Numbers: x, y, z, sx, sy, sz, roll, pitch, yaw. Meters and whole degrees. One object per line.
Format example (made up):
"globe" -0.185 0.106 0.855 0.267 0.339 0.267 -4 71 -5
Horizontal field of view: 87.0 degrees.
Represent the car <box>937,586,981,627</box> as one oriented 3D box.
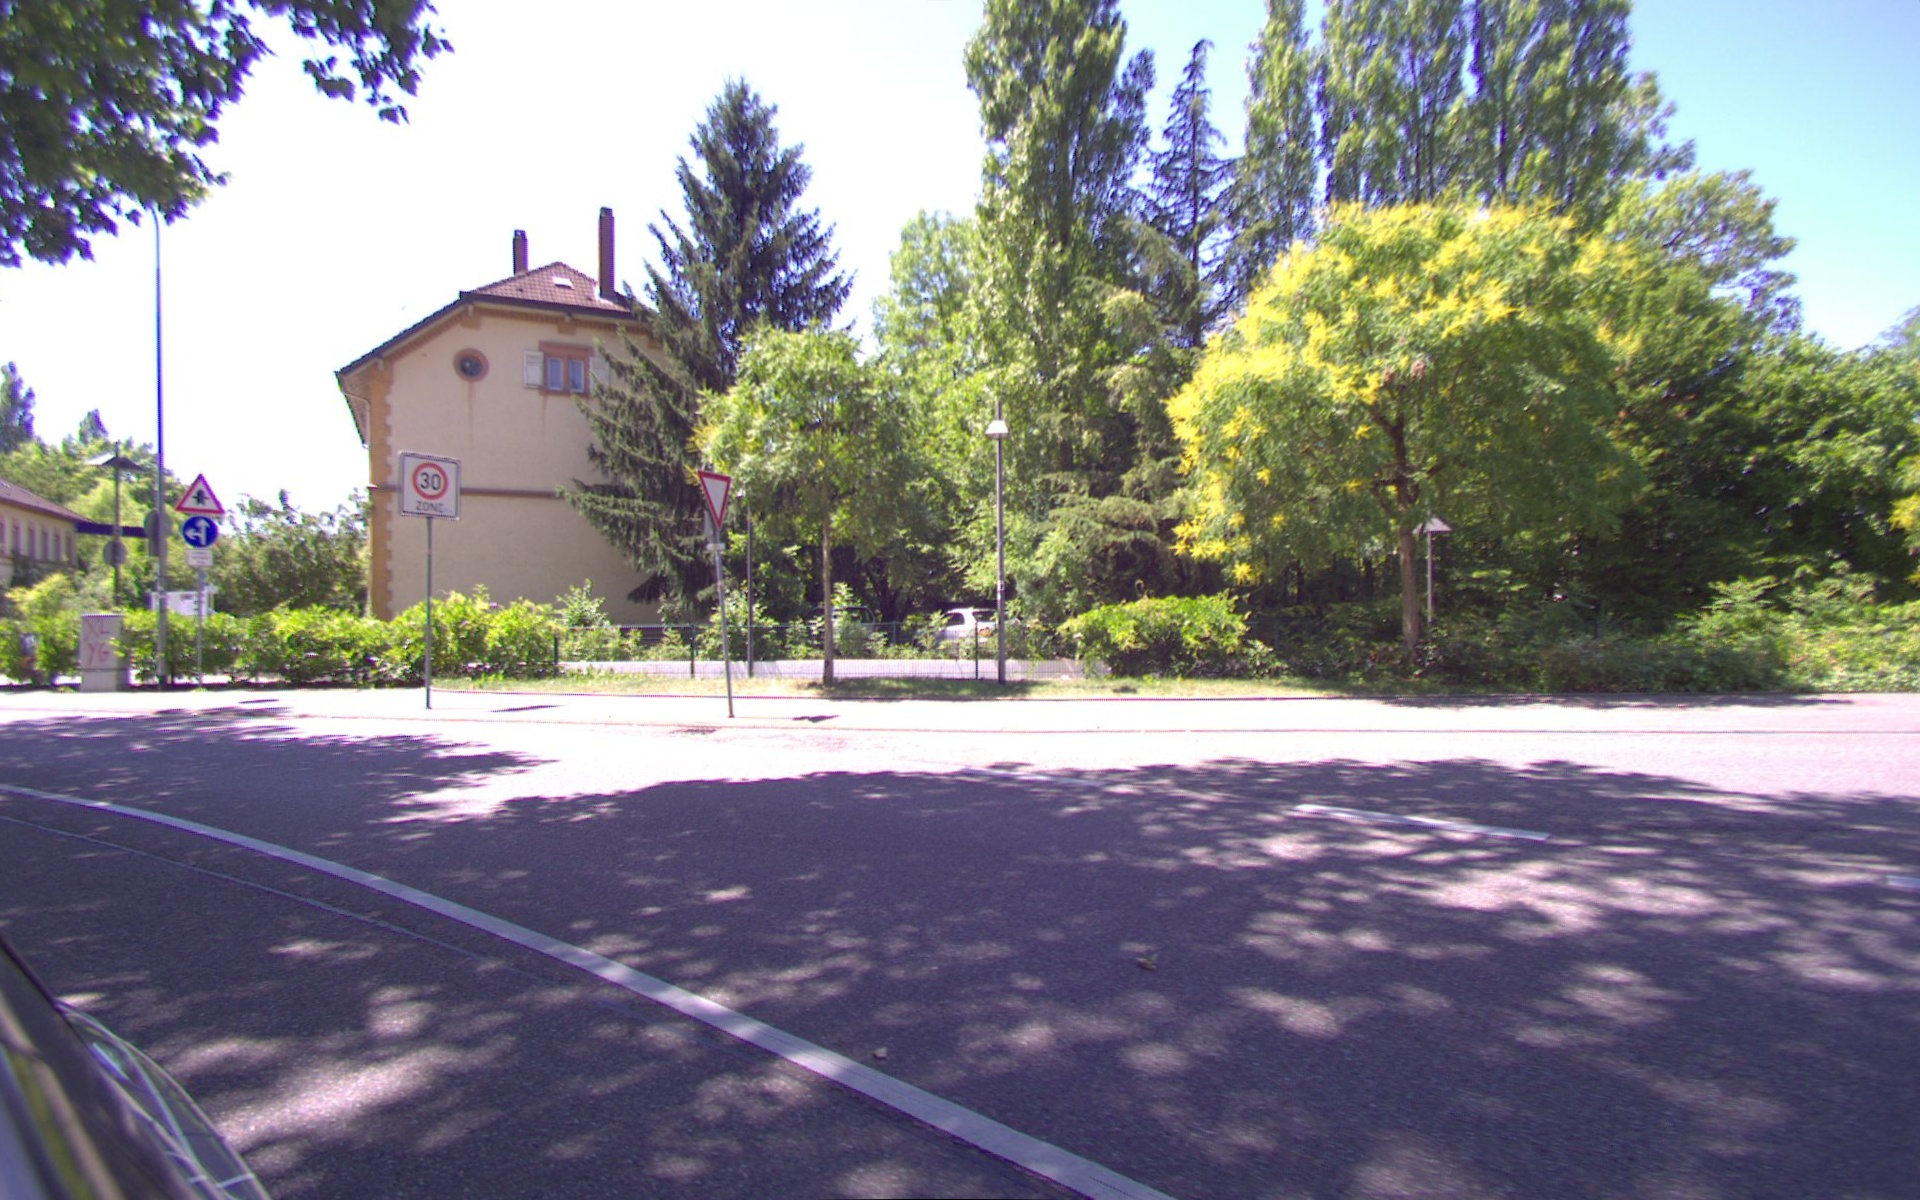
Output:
"car" -0.093 0.286 44.714 1.757 1.720 3.545 -1 -1 -3
